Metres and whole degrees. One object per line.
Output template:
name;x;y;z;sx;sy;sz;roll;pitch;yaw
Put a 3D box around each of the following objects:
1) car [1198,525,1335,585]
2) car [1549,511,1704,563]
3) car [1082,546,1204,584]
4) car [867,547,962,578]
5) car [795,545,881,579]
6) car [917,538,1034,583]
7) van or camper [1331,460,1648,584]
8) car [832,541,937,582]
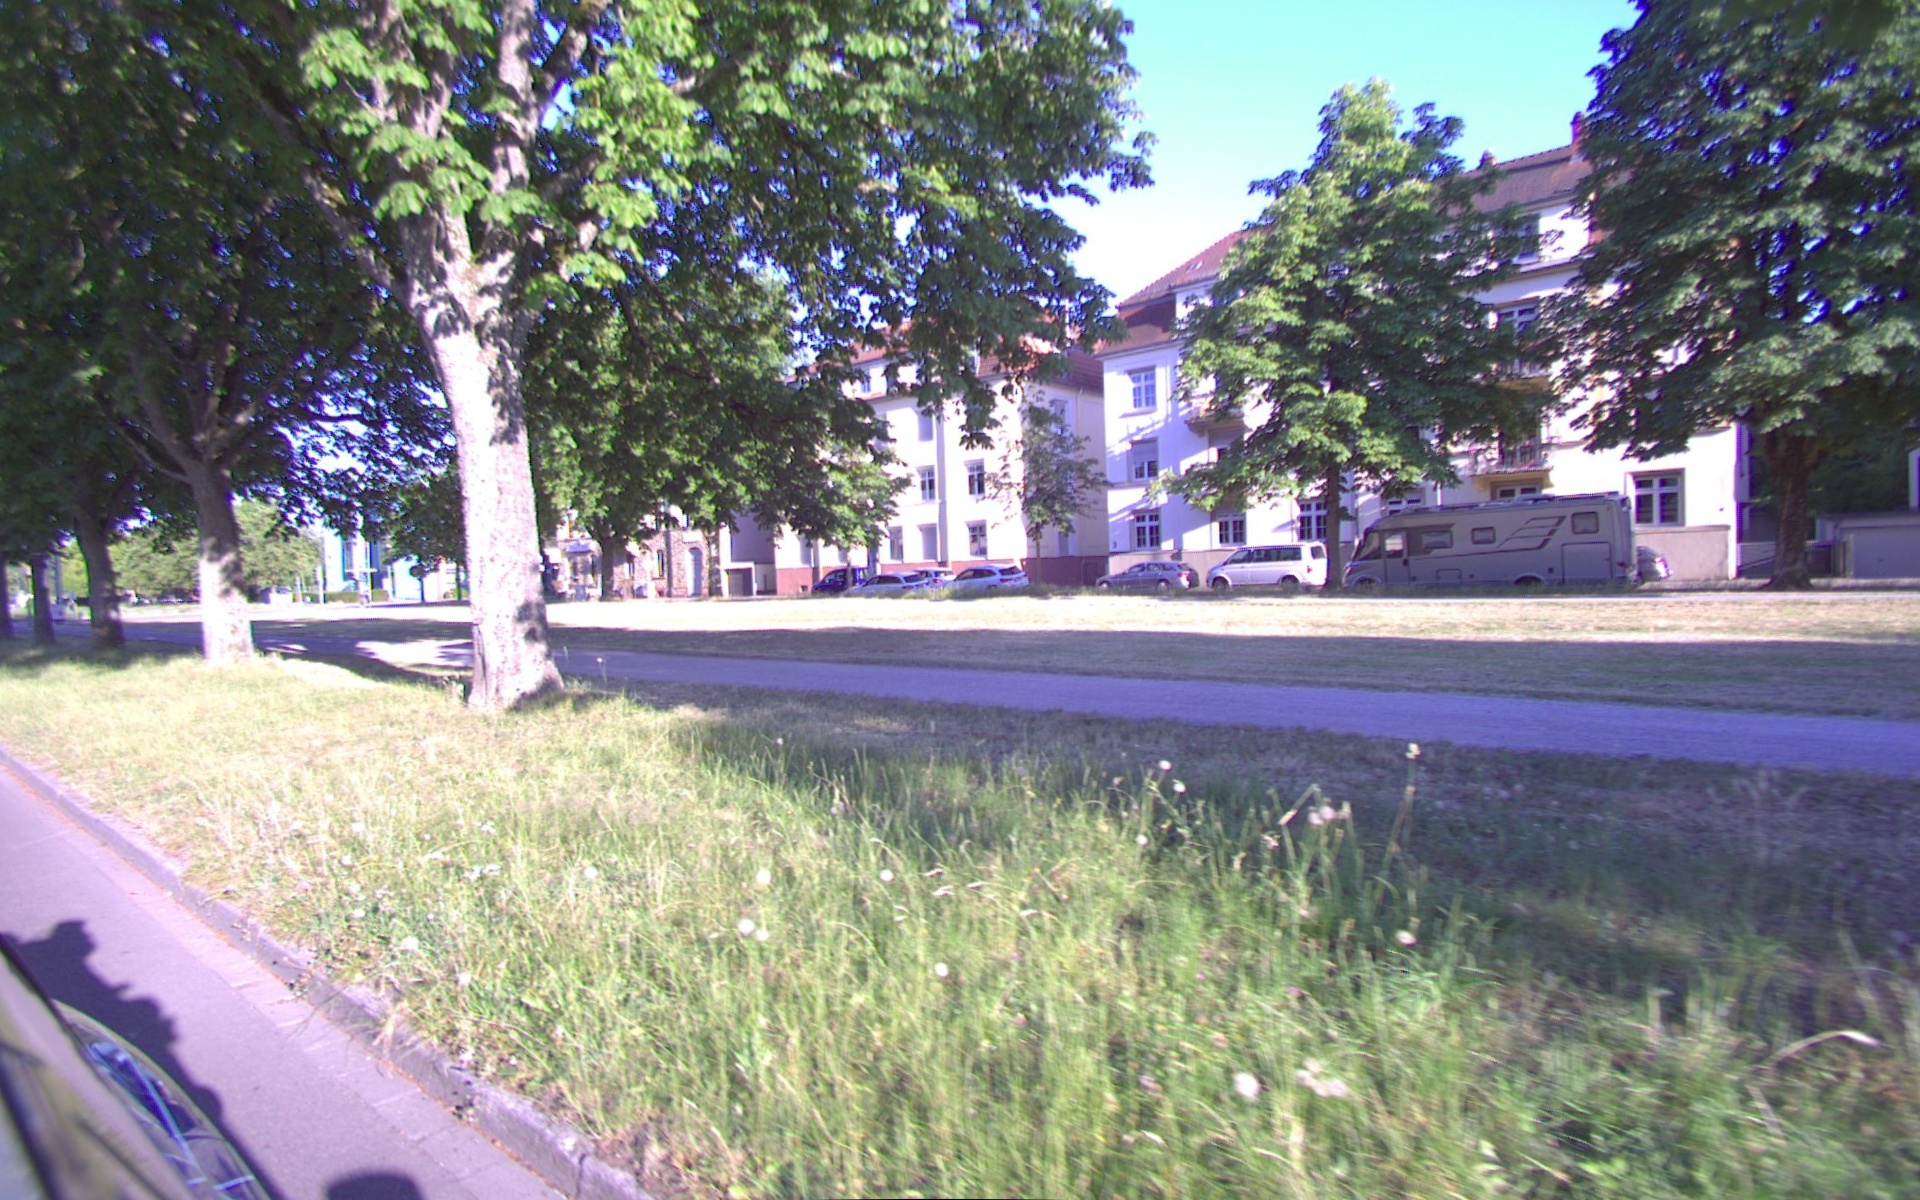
car;12.326;-1.777;40.897;4.876;2.218;1.972;0;3;43
car;21.556;-2.017;32.794;3.998;1.474;1.974;0;3;41
car;7.982;-1.520;44.383;4.870;1.464;1.974;-1;3;39
car;-2.411;-1.964;53.267;4.870;1.464;1.974;-1;3;39
car;-6.975;-2.152;57.670;4.870;1.702;1.974;-1;3;39
car;0.613;-1.668;43.264;4.874;1.702;1.973;0;3;42
van or camper;15.692;-2.191;30.412;7.894;3.133;3.221;0;3;42
car;-3.523;-1.762;46.865;4.874;1.702;1.973;0;3;42
